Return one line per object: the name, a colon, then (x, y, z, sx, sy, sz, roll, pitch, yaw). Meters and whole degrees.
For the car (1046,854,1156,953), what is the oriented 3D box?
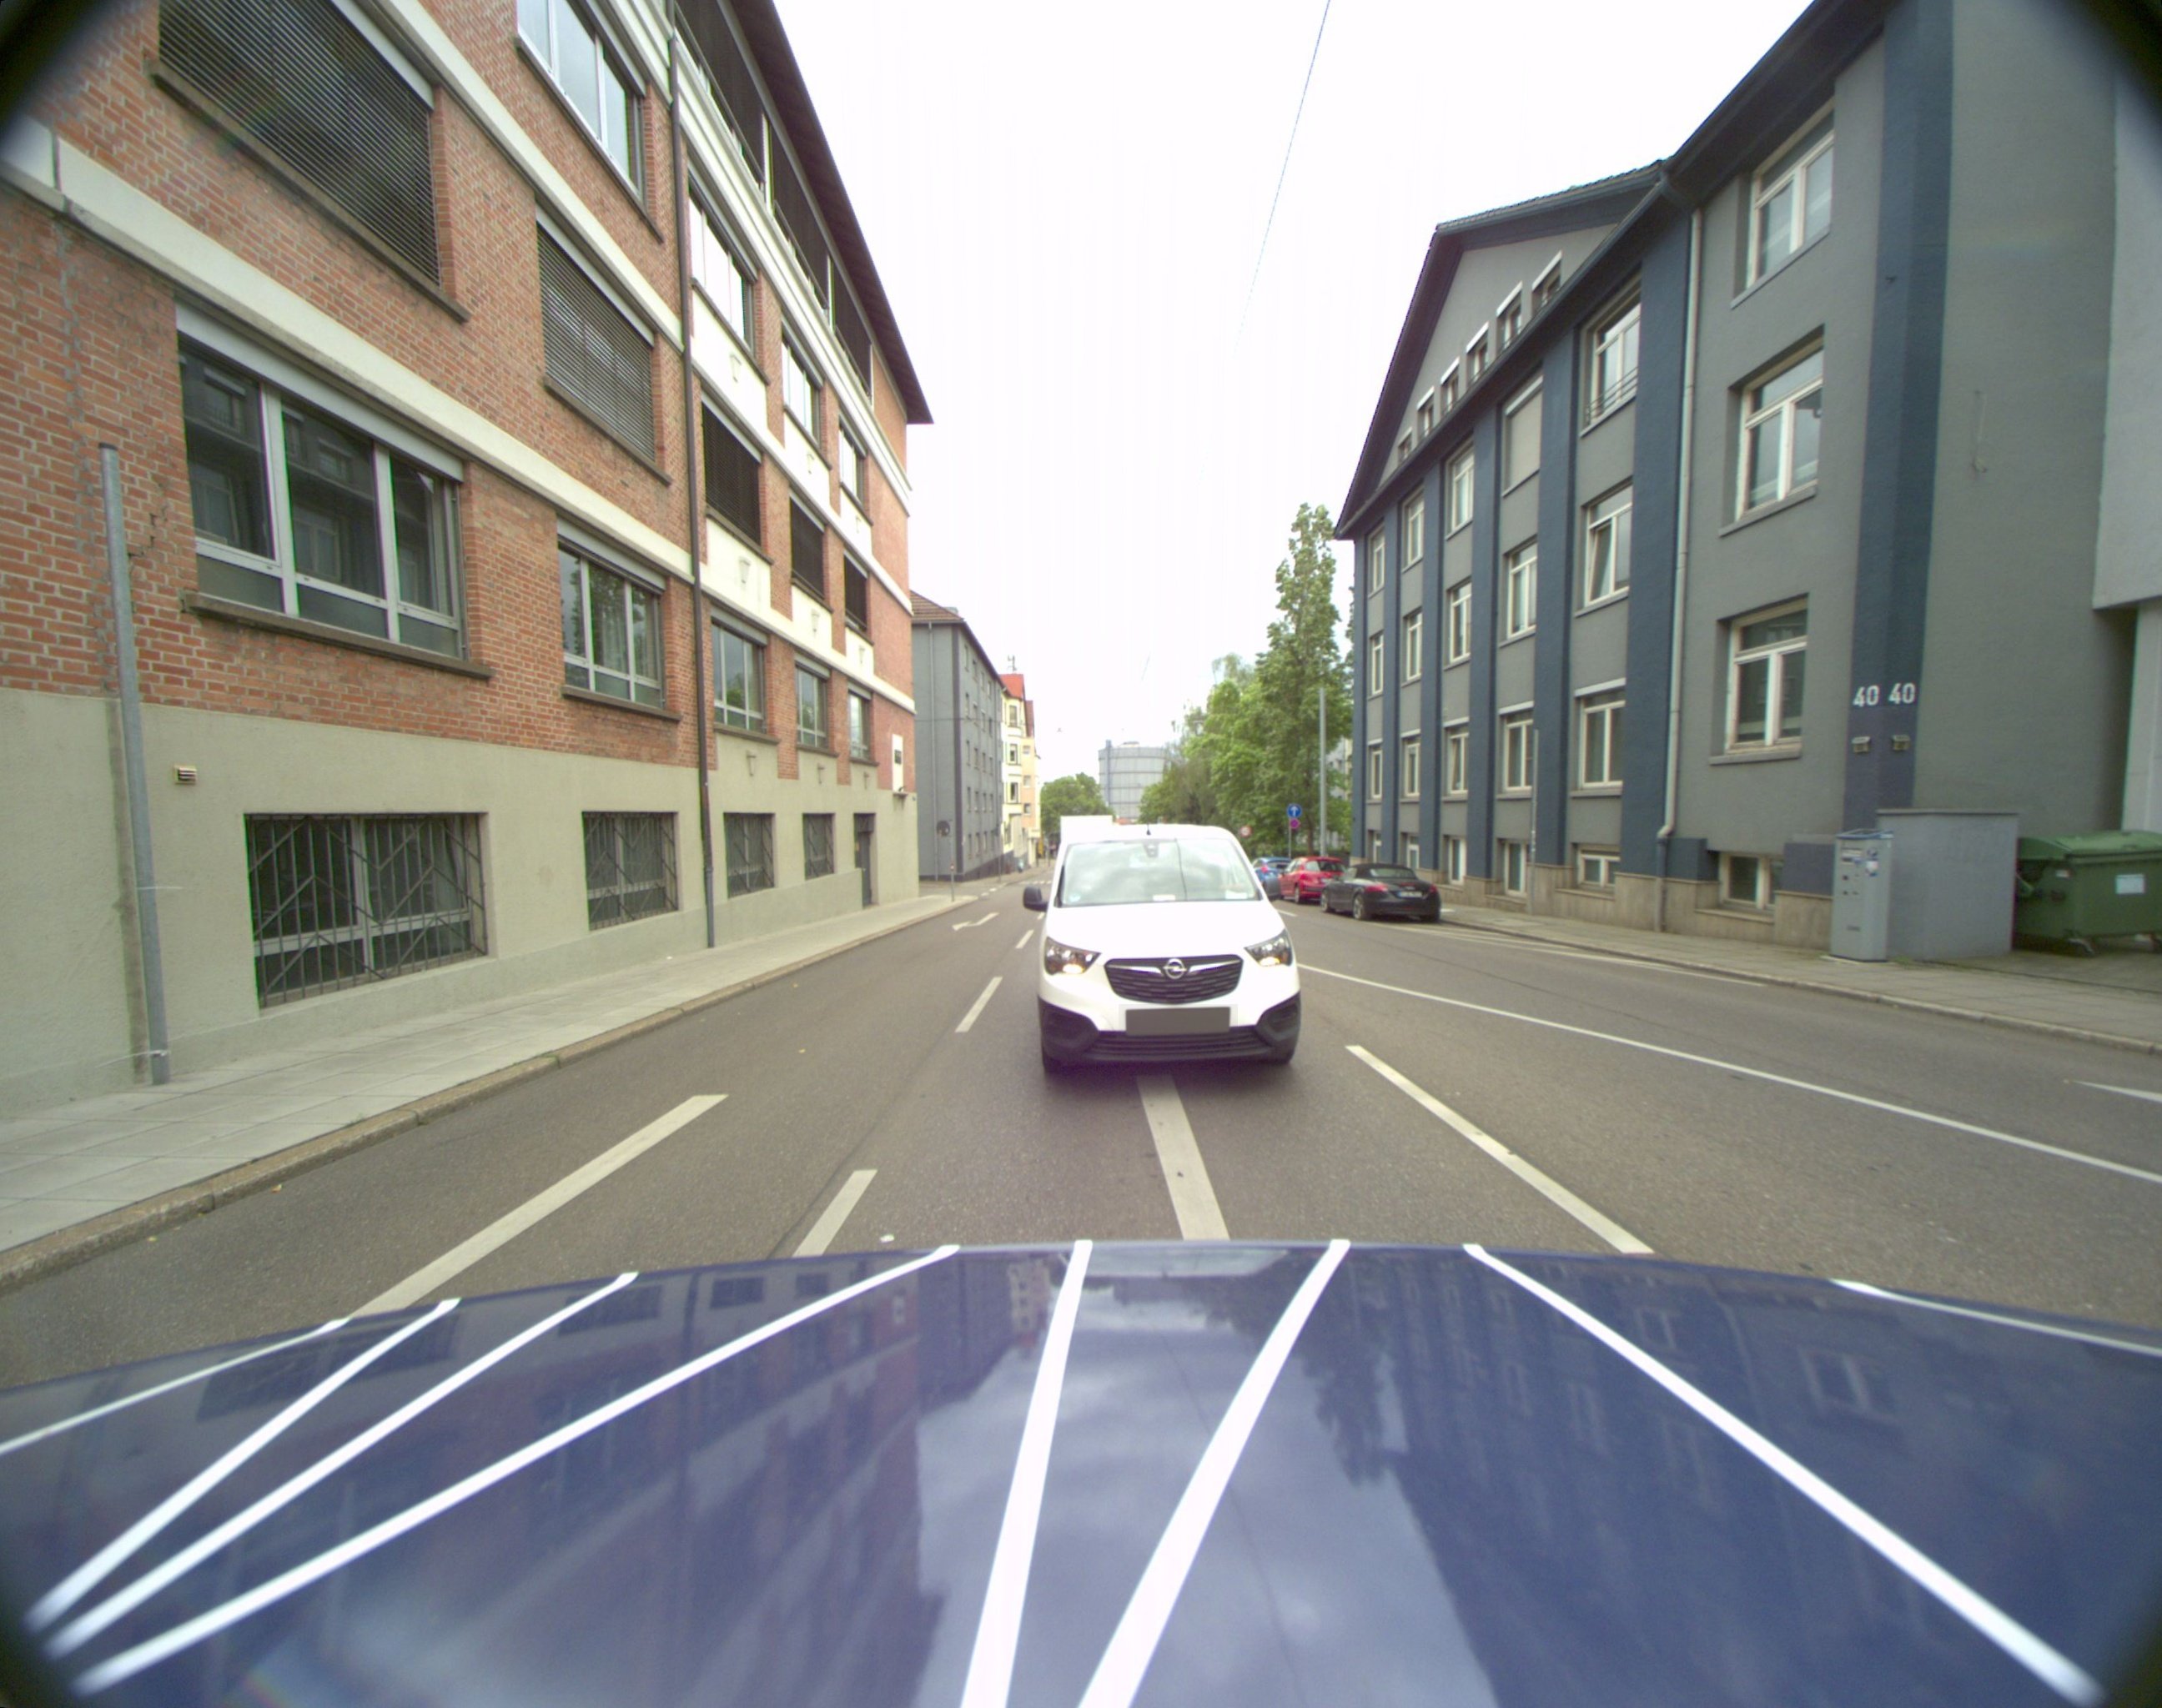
car: (0.352, 0.810, 14.393, 1.739, 1.519, 3.999, -2, 1, 1)

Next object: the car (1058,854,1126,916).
car: (0.314, 0.819, 21.885, 1.739, 1.519, 3.999, -2, 1, 1)

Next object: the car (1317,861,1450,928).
car: (7.234, 0.900, 18.560, 1.801, 1.384, 3.729, 0, 1, 1)

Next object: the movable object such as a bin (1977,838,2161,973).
movable object such as a bin: (12.061, 0.579, 9.177, 1.229, 1.498, 1.040, -2, 1, 1)

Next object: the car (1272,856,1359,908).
car: (7.404, 0.837, 24.344, 1.644, 1.441, 3.729, -2, 1, 1)

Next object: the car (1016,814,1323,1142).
car: (0.550, 0.713, 6.470, 1.739, 1.875, 3.999, -2, 1, 1)

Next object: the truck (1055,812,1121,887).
truck: (0.398, -0.260, 39.937, 2.969, 3.409, 8.879, -2, 1, 1)

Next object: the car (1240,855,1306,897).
car: (7.488, 0.798, 29.896, 1.644, 1.441, 3.729, -2, 1, 1)
